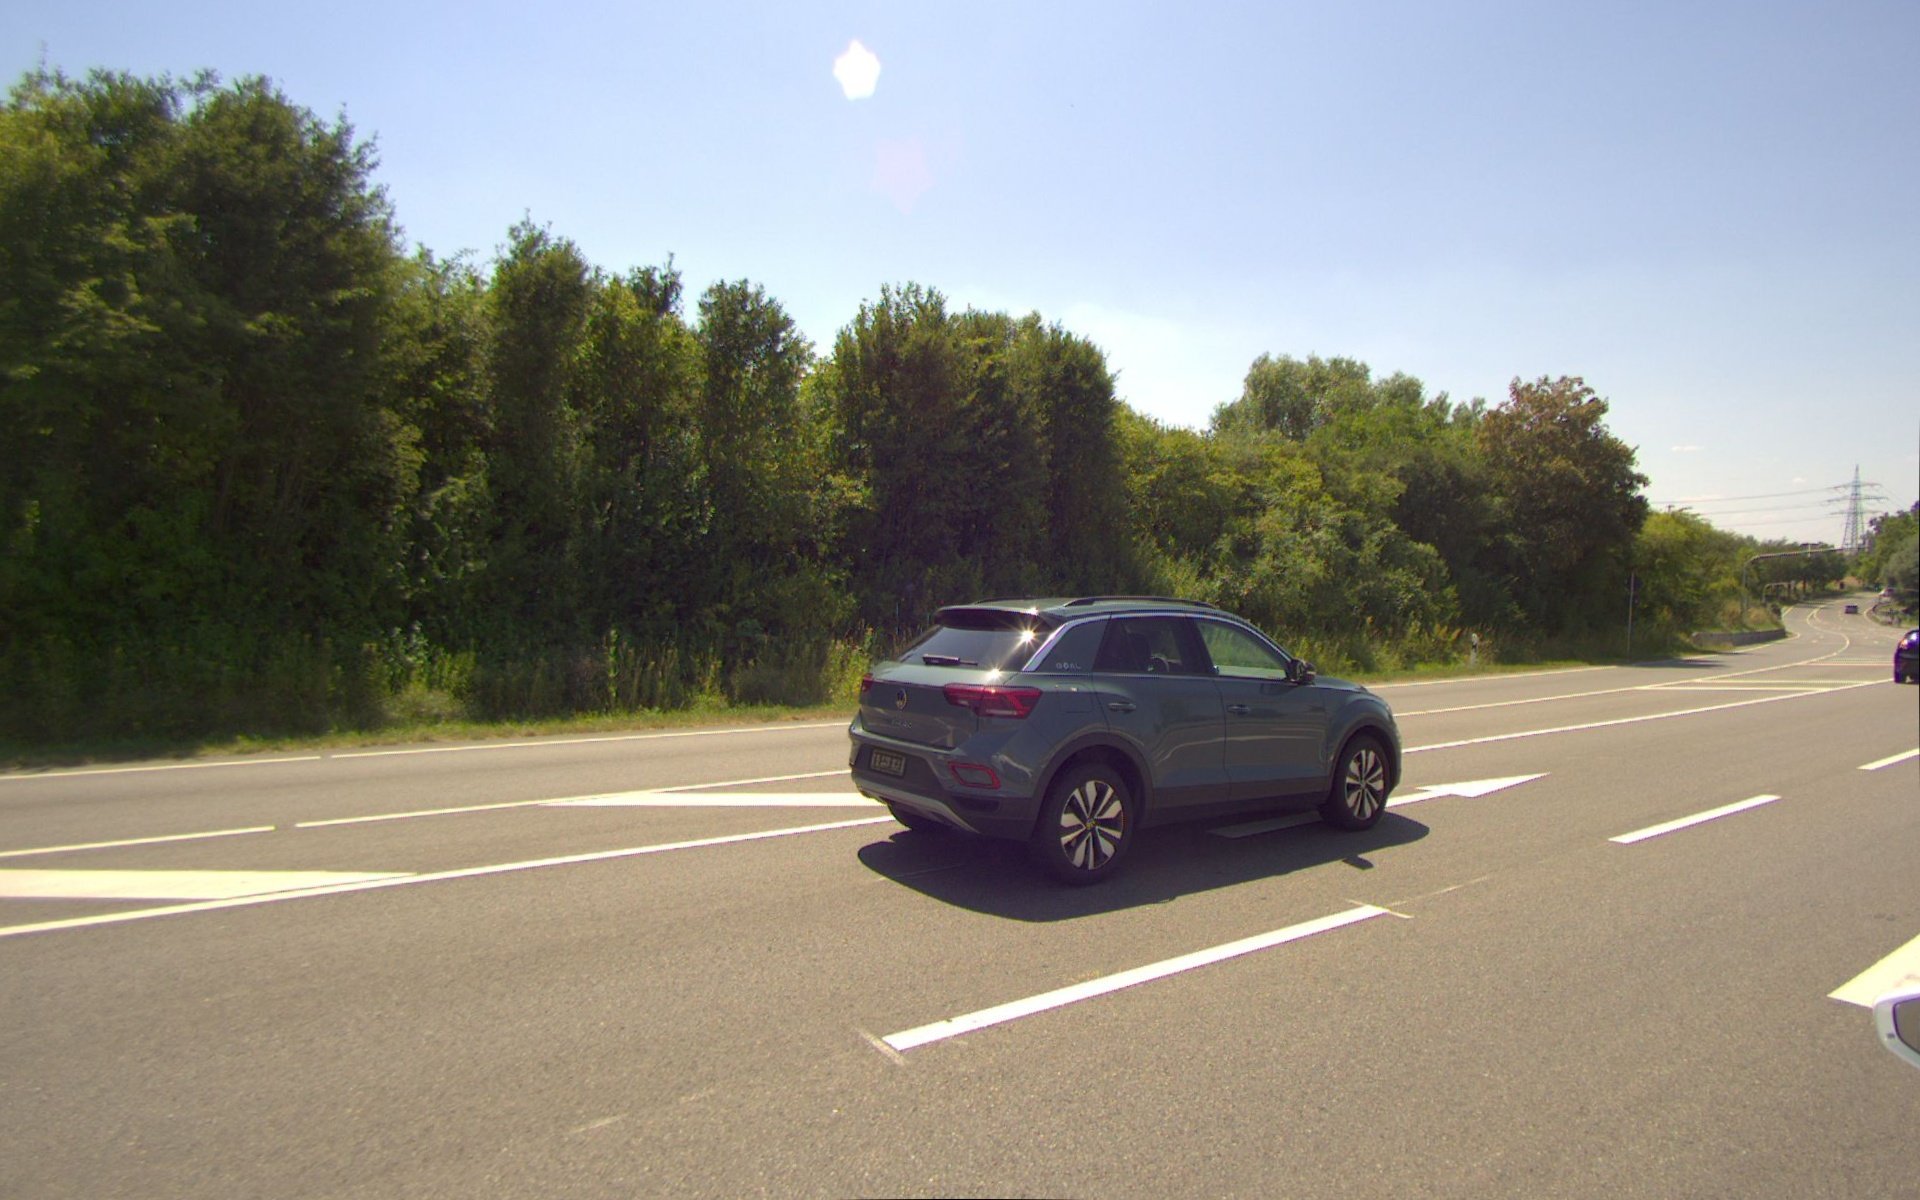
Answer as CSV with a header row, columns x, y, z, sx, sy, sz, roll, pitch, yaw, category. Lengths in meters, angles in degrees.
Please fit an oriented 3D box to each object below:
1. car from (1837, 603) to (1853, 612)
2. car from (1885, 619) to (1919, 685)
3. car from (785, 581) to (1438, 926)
x,y,z,sx,sy,sz,roll,pitch,yaw,category
165.364,1.389,187.646,3.974,1.706,1.973,1,0,-45,car
25.229,1.316,25.785,4.172,1.514,1.639,-1,2,-40,car
1.205,0.748,6.730,4.350,1.607,1.821,1,-1,-37,car
